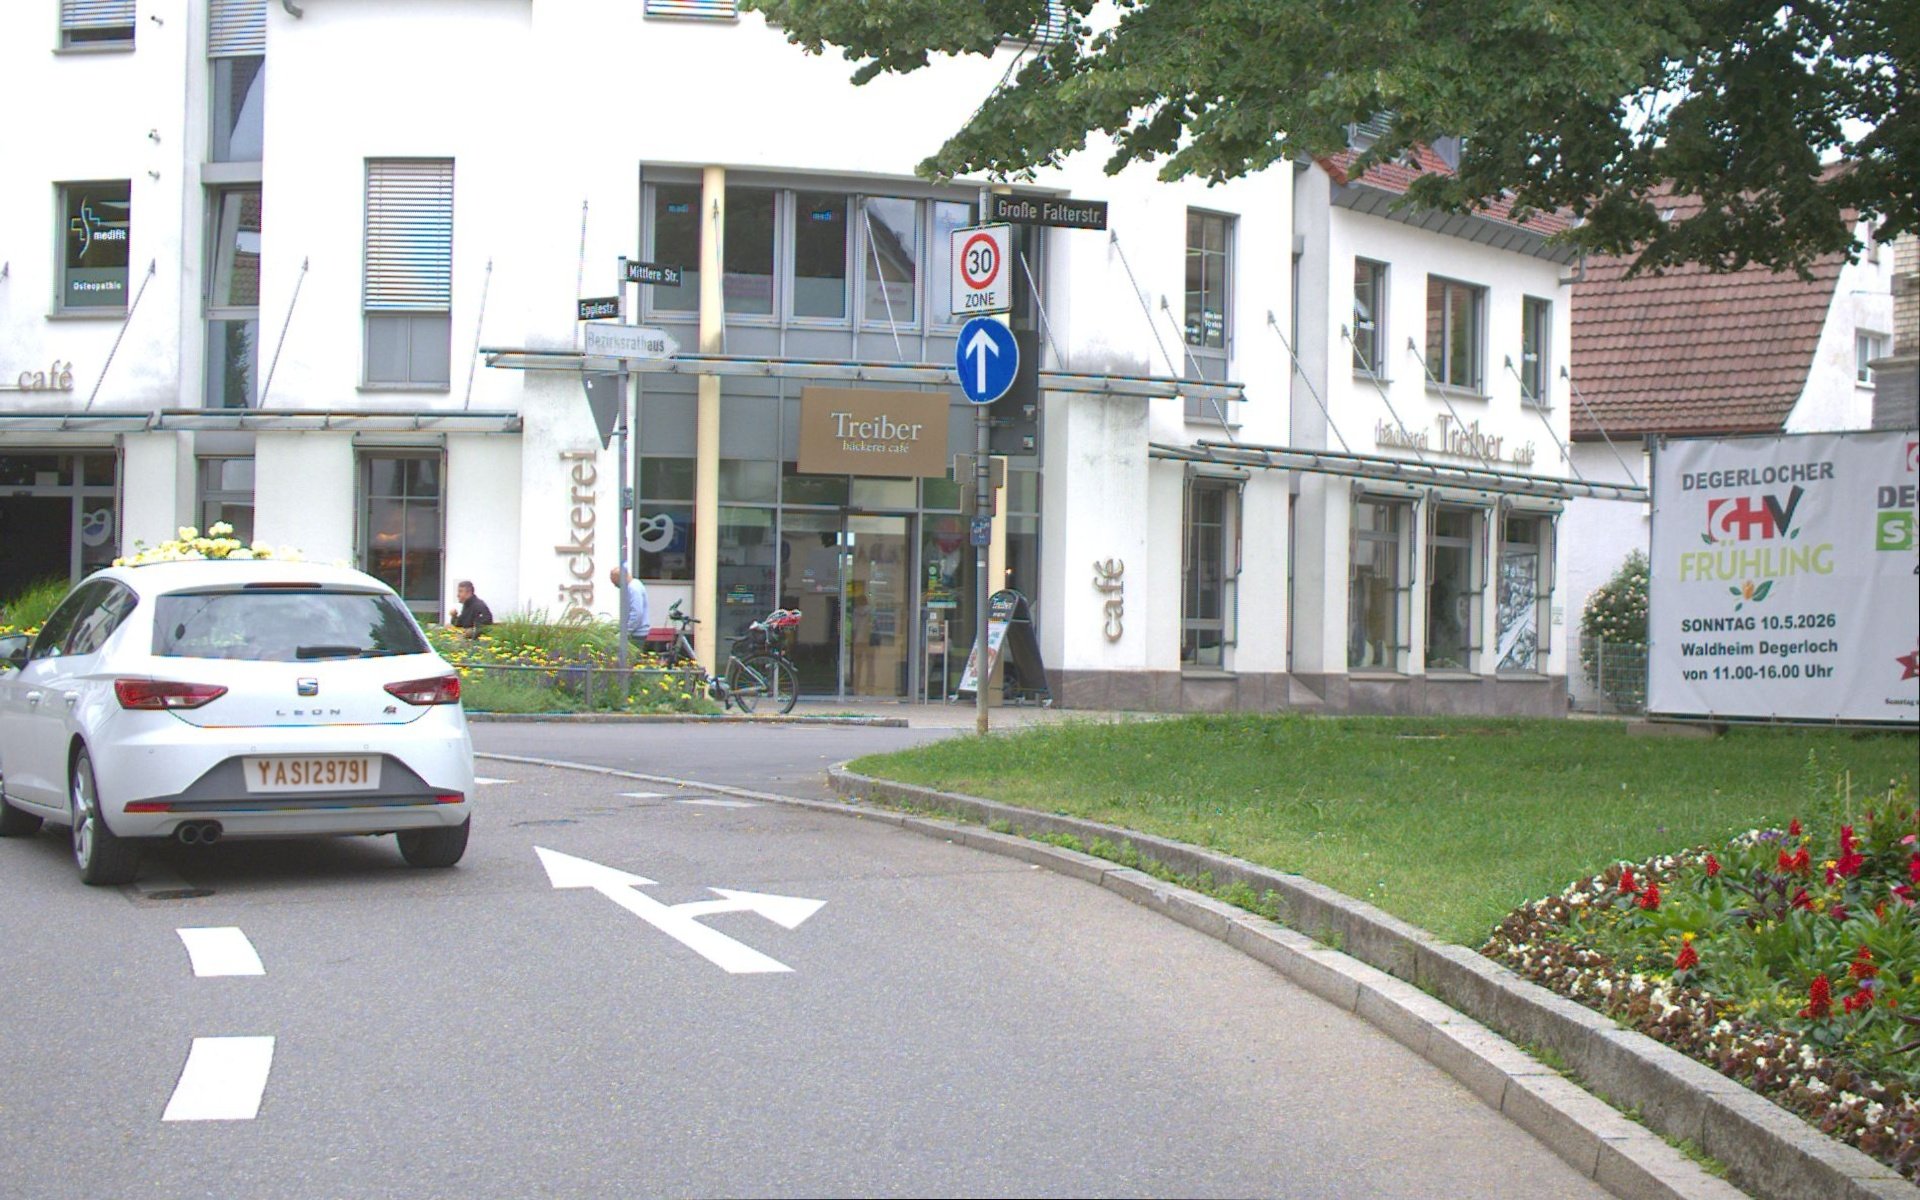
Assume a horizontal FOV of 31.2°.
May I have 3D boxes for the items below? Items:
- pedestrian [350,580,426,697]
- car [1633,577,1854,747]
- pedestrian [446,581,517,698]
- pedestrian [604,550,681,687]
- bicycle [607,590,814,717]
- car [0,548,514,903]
[{"bbox_3d":[-6.626,0.440,39.857,0.700,1.327,0.684,1,0,5],"label":"pedestrian"},{"bbox_3d":[9.015,0.707,39.343,1.828,1.786,4.213,2,-1,21],"label":"car"},{"bbox_3d":[-5.522,0.449,39.666,0.655,1.337,0.696,1,0,5],"label":"pedestrian"},{"bbox_3d":[-3.588,0.206,38.860,0.700,1.520,0.867,1,0,5],"label":"pedestrian"},{"bbox_3d":[-2.576,0.546,35.525,1.975,1.235,0.743,2,0,17],"label":"bicycle"},{"bbox_3d":[-3.619,0.519,16.788,1.843,1.429,4.001,1,2,-23],"label":"car"}]
